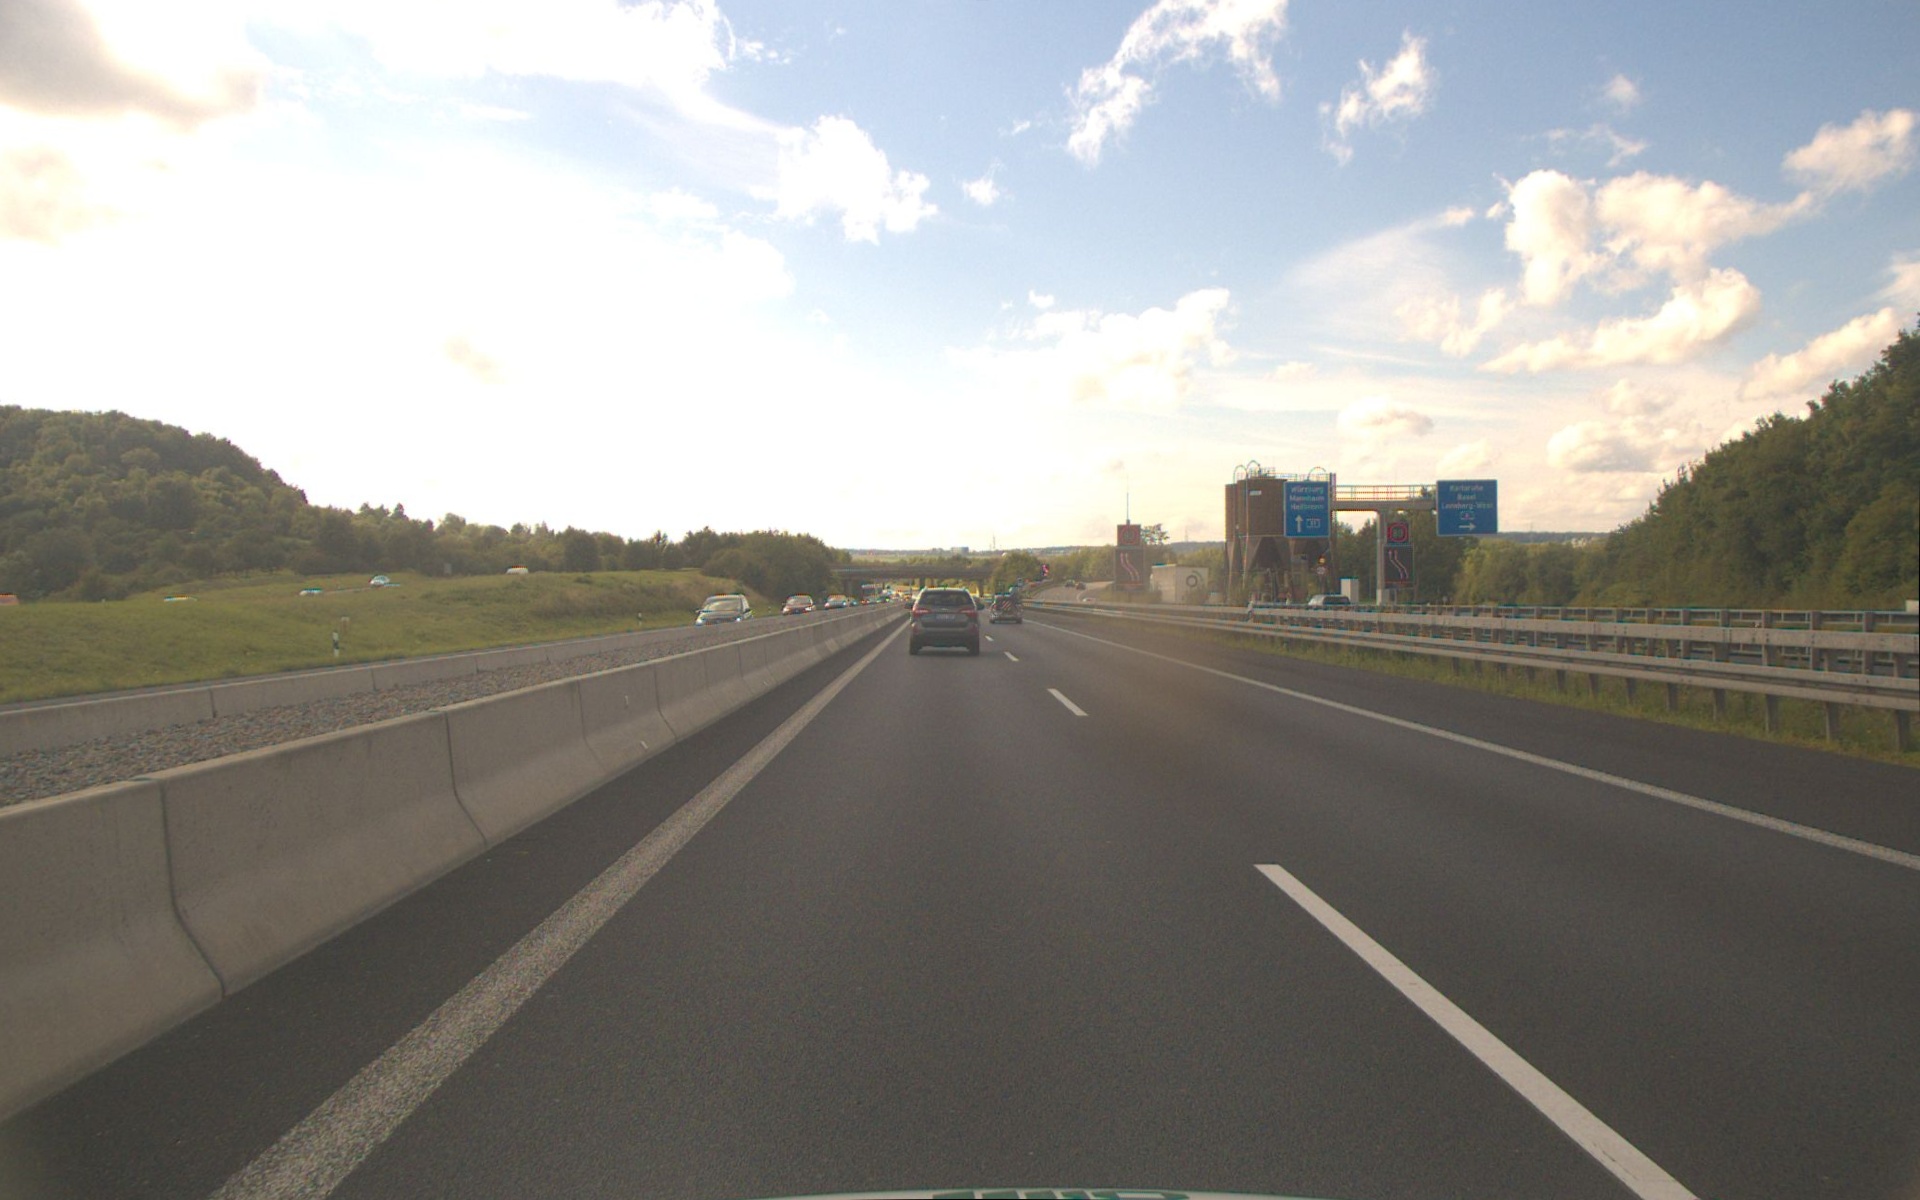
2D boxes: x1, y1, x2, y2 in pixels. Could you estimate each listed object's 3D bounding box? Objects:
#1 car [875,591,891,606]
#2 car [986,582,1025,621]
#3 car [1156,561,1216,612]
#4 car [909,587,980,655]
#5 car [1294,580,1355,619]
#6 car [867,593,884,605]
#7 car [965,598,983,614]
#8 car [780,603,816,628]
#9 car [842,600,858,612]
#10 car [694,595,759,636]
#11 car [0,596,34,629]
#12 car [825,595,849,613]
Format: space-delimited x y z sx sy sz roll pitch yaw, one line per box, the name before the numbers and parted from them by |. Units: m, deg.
car | -11.471 -0.214 246.941 1.953 2.049 5.841 -2 0 0
car | 2.521 0.083 92.972 1.953 2.117 3.999 -2 0 -1
car | 17.693 -1.039 129.765 3.504 3.741 7.547 -2 0 -1
car | -0.368 0.535 43.441 1.714 1.659 3.609 -2 0 1
car | 17.422 -0.034 79.199 1.953 1.747 3.999 -2 0 -1
car | -11.325 -0.111 221.564 1.953 1.600 5.365 -2 0 0
car | 1.636 0.731 194.258 1.935 1.810 4.119 -2 0 -1
car | -9.713 0.901 99.483 1.751 1.422 4.798 -2 0 -1
car | -15.183 0.808 228.457 1.953 1.504 4.691 -2 0 0
car | -8.659 0.552 61.642 1.751 1.422 4.724 -2 0 -1
car | -45.921 0.615 78.338 1.738 1.575 4.883 -2 0 -6
car | -10.429 0.305 140.203 1.751 1.422 4.622 -2 0 -1
